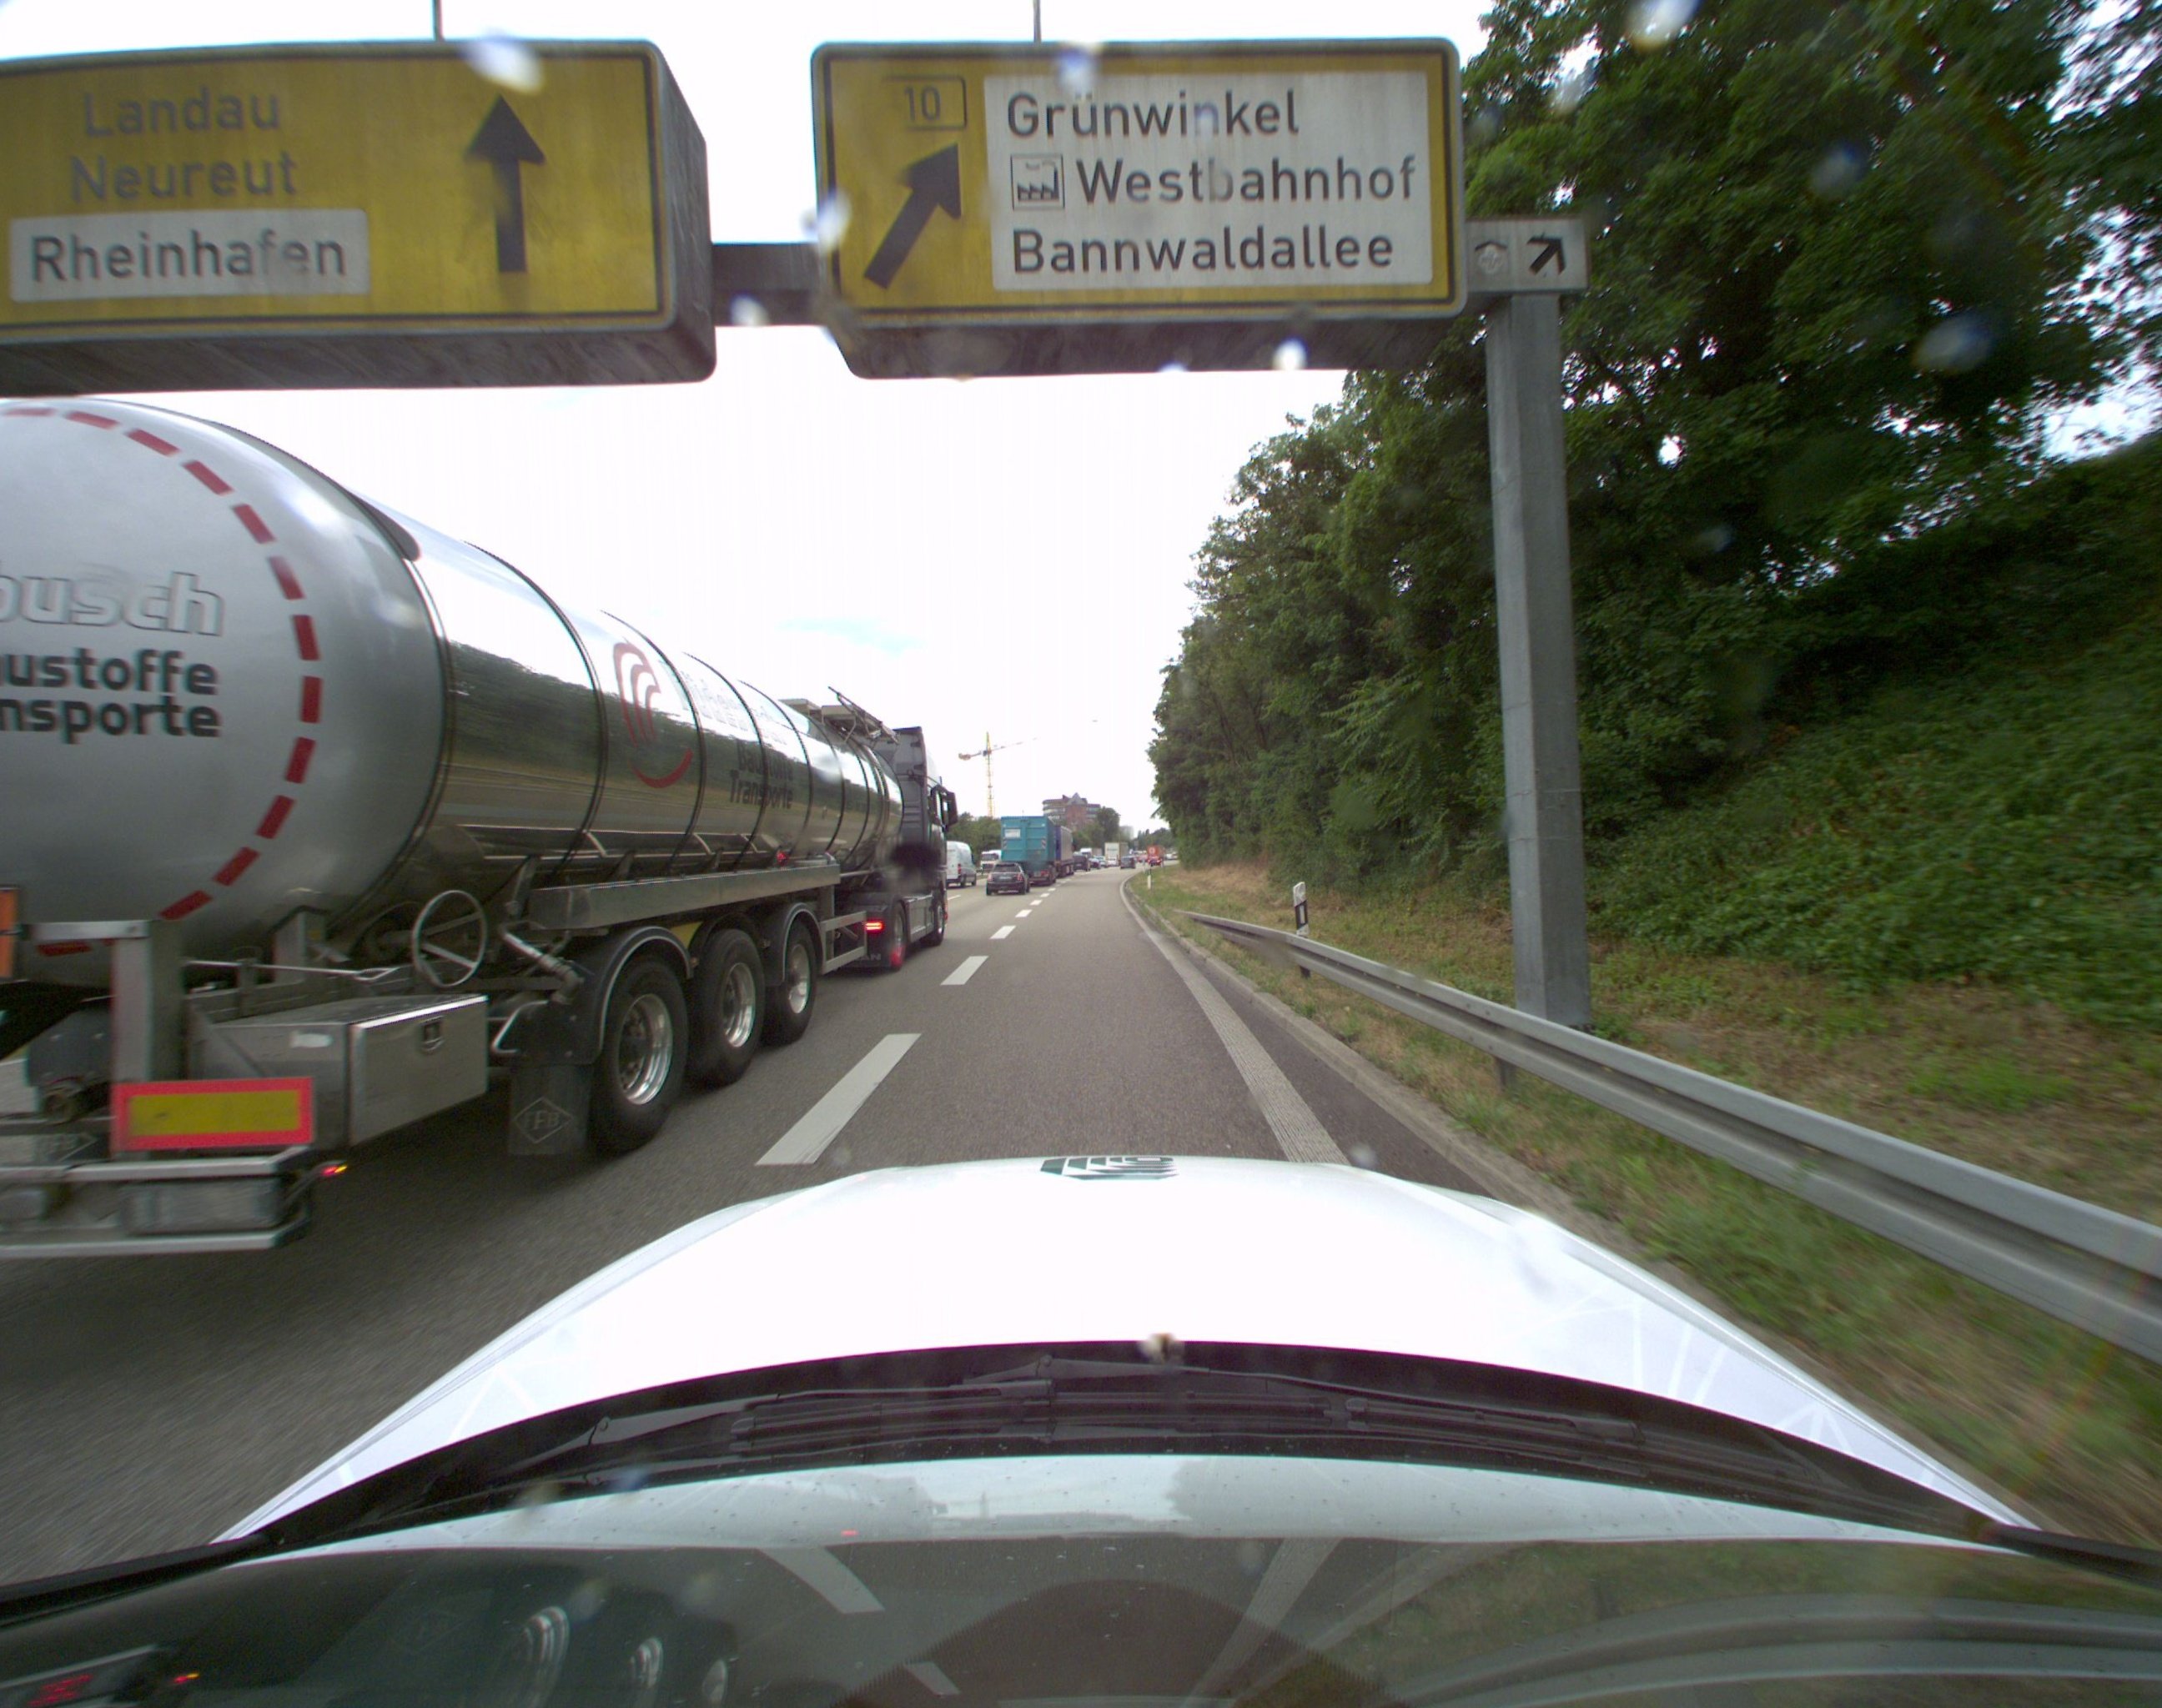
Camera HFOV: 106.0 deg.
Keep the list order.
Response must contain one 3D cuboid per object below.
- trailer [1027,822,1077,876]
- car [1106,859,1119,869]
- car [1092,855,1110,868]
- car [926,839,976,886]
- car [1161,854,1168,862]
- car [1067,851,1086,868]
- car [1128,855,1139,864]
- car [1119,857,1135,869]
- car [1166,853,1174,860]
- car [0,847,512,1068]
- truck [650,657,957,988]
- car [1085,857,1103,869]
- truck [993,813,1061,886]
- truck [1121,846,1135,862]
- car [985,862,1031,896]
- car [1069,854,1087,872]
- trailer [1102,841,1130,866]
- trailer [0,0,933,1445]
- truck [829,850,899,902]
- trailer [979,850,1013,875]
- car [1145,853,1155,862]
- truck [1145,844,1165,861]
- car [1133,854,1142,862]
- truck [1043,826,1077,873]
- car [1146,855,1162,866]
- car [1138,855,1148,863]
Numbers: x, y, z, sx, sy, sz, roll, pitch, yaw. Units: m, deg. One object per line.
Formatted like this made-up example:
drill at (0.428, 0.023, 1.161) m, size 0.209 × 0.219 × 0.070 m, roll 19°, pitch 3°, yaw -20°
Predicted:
trailer at (-2.228, -0.278, 67.503) m, size 2.614 × 4.023 × 13.478 m, roll -1°, pitch -1°, yaw 4°
car at (5.077, 1.555, 130.263) m, size 1.755 × 1.478 × 4.096 m, roll -4°, pitch 0°, yaw 7°
car at (2.918, 1.105, 119.334) m, size 1.945 × 1.695 × 4.877 m, roll -3°, pitch 0°, yaw 8°
car at (-7.551, 0.509, 47.814) m, size 2.217 × 2.578 × 6.788 m, roll -1°, pitch -1°, yaw -4°
car at (23.218, 1.129, 226.160) m, size 1.603 × 1.948 × 3.719 m, roll -1°, pitch -1°, yaw 14°
car at (-0.706, 0.891, 129.565) m, size 1.981 × 2.553 × 5.377 m, roll -3°, pitch 0°, yaw 10°
car at (10.824, 1.155, 167.938) m, size 1.788 × 1.604 × 4.271 m, roll -3°, pitch 0°, yaw 11°
car at (5.982, 1.152, 105.456) m, size 1.817 × 1.482 × 4.005 m, roll -3°, pitch 0°, yaw 4°
car at (25.973, 0.620, 237.925) m, size 1.603 × 2.013 × 4.015 m, roll -3°, pitch 0°, yaw 14°
car at (-7.894, 0.748, 7.788) m, size 1.670 × 1.498 × 4.468 m, roll -3°, pitch 0°, yaw 0°
truck at (-3.880, -0.382, 13.334) m, size 2.676 × 3.907 × 6.931 m, roll -2°, pitch 0°, yaw -2°
car at (1.745, 1.200, 106.531) m, size 1.837 × 1.460 × 4.841 m, roll -2°, pitch 0°, yaw 7°
truck at (-3.051, -0.216, 49.792) m, size 2.918 × 3.796 × 11.334 m, roll -3°, pitch 0°, yaw 2°
truck at (12.617, 0.070, 218.970) m, size 2.723 × 4.138 × 10.722 m, roll -1°, pitch -1°, yaw 8°
car at (-3.281, 1.100, 37.312) m, size 1.742 × 1.422 × 3.663 m, roll -2°, pitch 0°, yaw 0°
car at (-0.332, 1.000, 94.253) m, size 1.981 × 1.898 × 4.984 m, roll -2°, pitch 0°, yaw 0°
trailer at (6.263, -0.003, 143.145) m, size 3.279 × 4.036 × 13.131 m, roll -1°, pitch -1°, yaw 9°
trailer at (-3.652, -0.360, 7.589) m, size 2.676 × 3.907 × 10.979 m, roll -2°, pitch 0°, yaw -2°
truck at (-9.189, 0.892, 34.800) m, size 1.989 × 2.013 × 3.996 m, roll -2°, pitch 0°, yaw -2°
trailer at (-12.645, 1.187, 122.047) m, size 2.458 × 3.396 × 12.482 m, roll -3°, pitch 0°, yaw 6°
car at (16.908, 0.790, 198.681) m, size 1.981 × 2.013 × 4.011 m, roll -3°, pitch 0°, yaw 10°
truck at (19.148, -0.316, 210.248) m, size 3.467 × 4.073 × 13.634 m, roll -3°, pitch 0°, yaw 11°
car at (14.714, 0.952, 210.646) m, size 1.806 × 2.013 × 4.011 m, roll -3°, pitch 0°, yaw 10°
truck at (-1.837, -0.347, 73.913) m, size 2.550 × 4.043 × 6.593 m, roll -1°, pitch -1°, yaw 3°
car at (10.717, 0.892, 119.654) m, size 1.813 × 1.482 × 4.014 m, roll -3°, pitch 0°, yaw 12°
car at (13.852, 1.144, 181.690) m, size 1.706 × 1.684 × 4.012 m, roll -1°, pitch -1°, yaw 11°
